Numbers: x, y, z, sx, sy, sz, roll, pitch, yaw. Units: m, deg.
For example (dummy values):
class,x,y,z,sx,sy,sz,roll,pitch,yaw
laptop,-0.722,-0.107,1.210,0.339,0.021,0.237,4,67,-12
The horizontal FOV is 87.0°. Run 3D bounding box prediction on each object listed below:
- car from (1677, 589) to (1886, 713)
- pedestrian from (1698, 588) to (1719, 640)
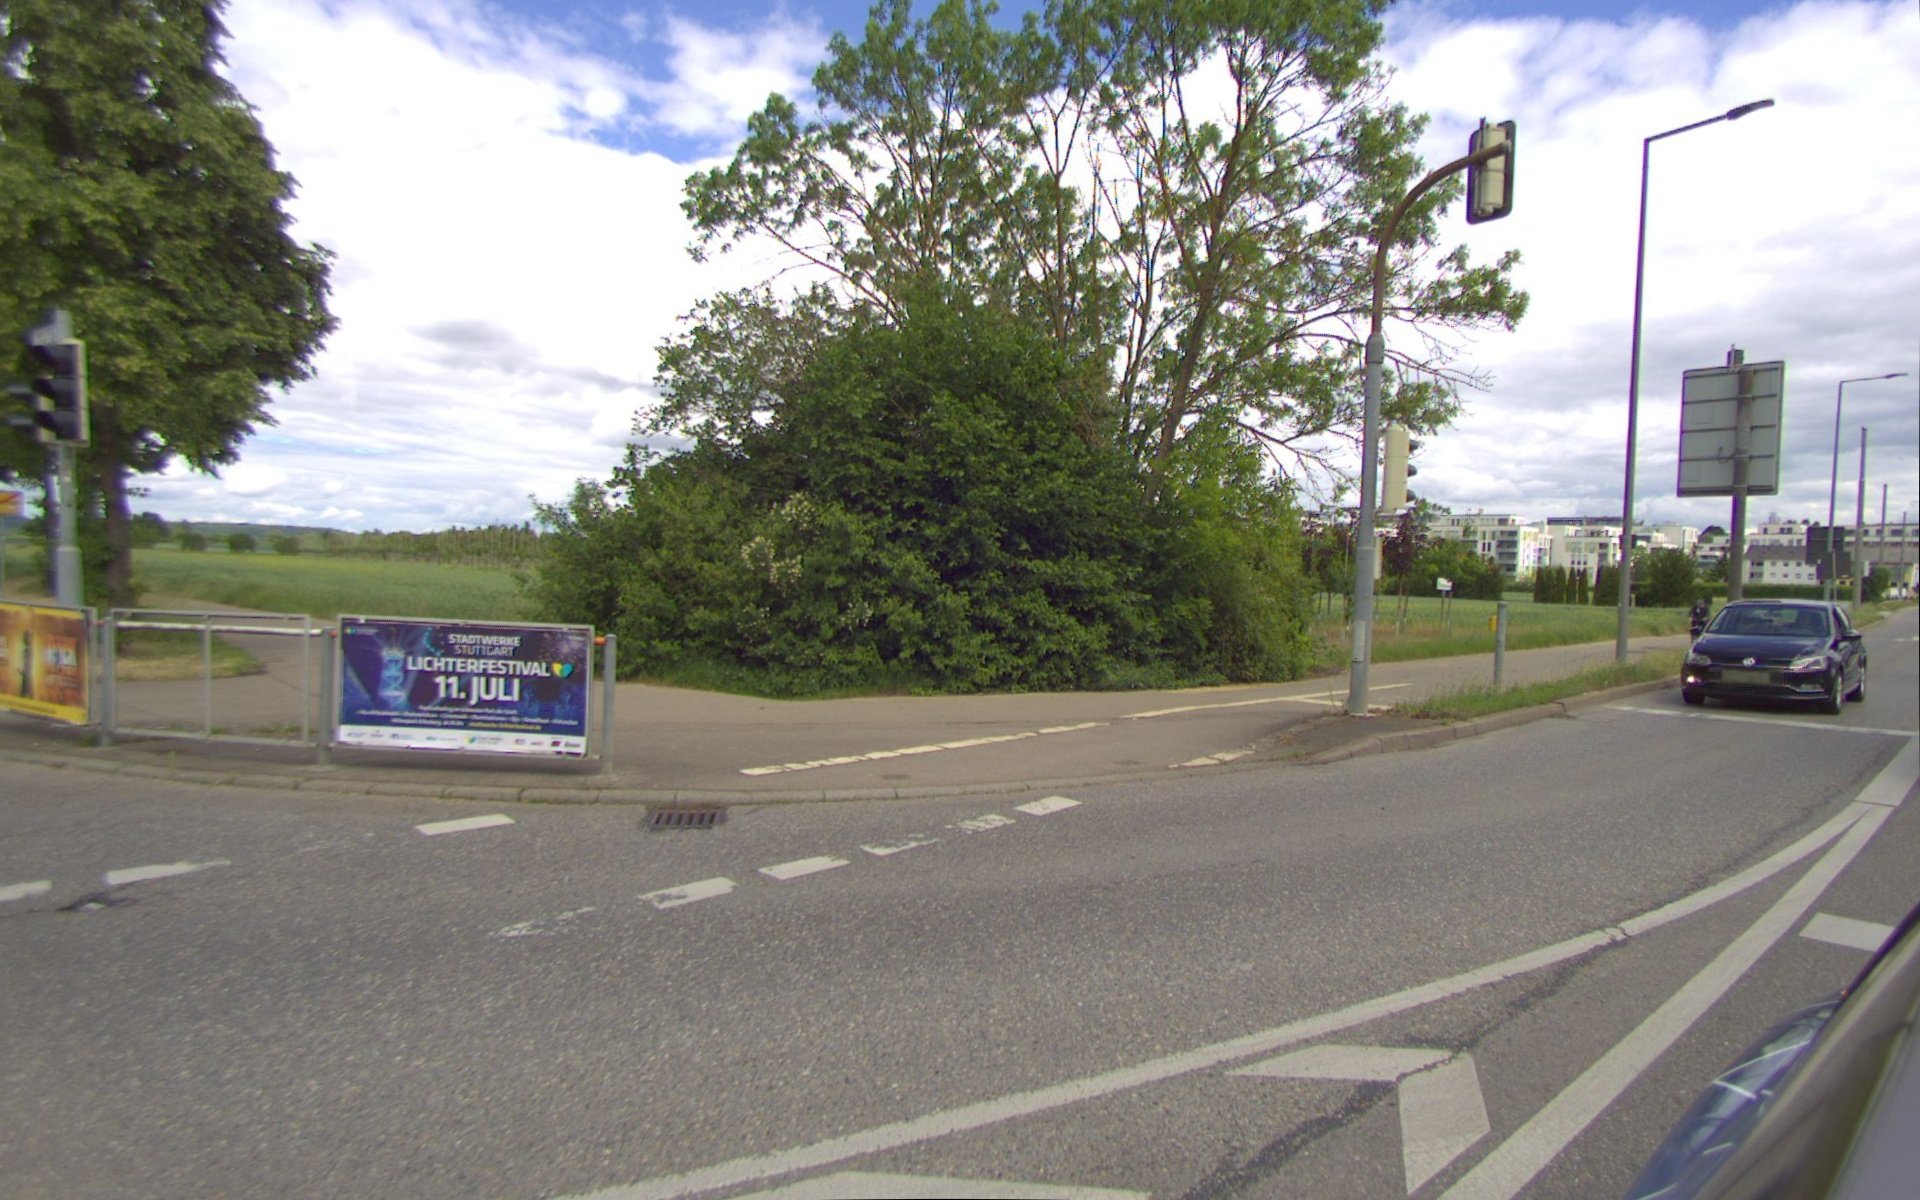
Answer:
class,x,y,z,sx,sy,sz,roll,pitch,yaw
car,11.470,0.592,14.048,3.676,1.436,1.681,-1,2,-42
pedestrian,24.983,0.458,33.780,0.616,1.724,0.491,-1,1,-44
